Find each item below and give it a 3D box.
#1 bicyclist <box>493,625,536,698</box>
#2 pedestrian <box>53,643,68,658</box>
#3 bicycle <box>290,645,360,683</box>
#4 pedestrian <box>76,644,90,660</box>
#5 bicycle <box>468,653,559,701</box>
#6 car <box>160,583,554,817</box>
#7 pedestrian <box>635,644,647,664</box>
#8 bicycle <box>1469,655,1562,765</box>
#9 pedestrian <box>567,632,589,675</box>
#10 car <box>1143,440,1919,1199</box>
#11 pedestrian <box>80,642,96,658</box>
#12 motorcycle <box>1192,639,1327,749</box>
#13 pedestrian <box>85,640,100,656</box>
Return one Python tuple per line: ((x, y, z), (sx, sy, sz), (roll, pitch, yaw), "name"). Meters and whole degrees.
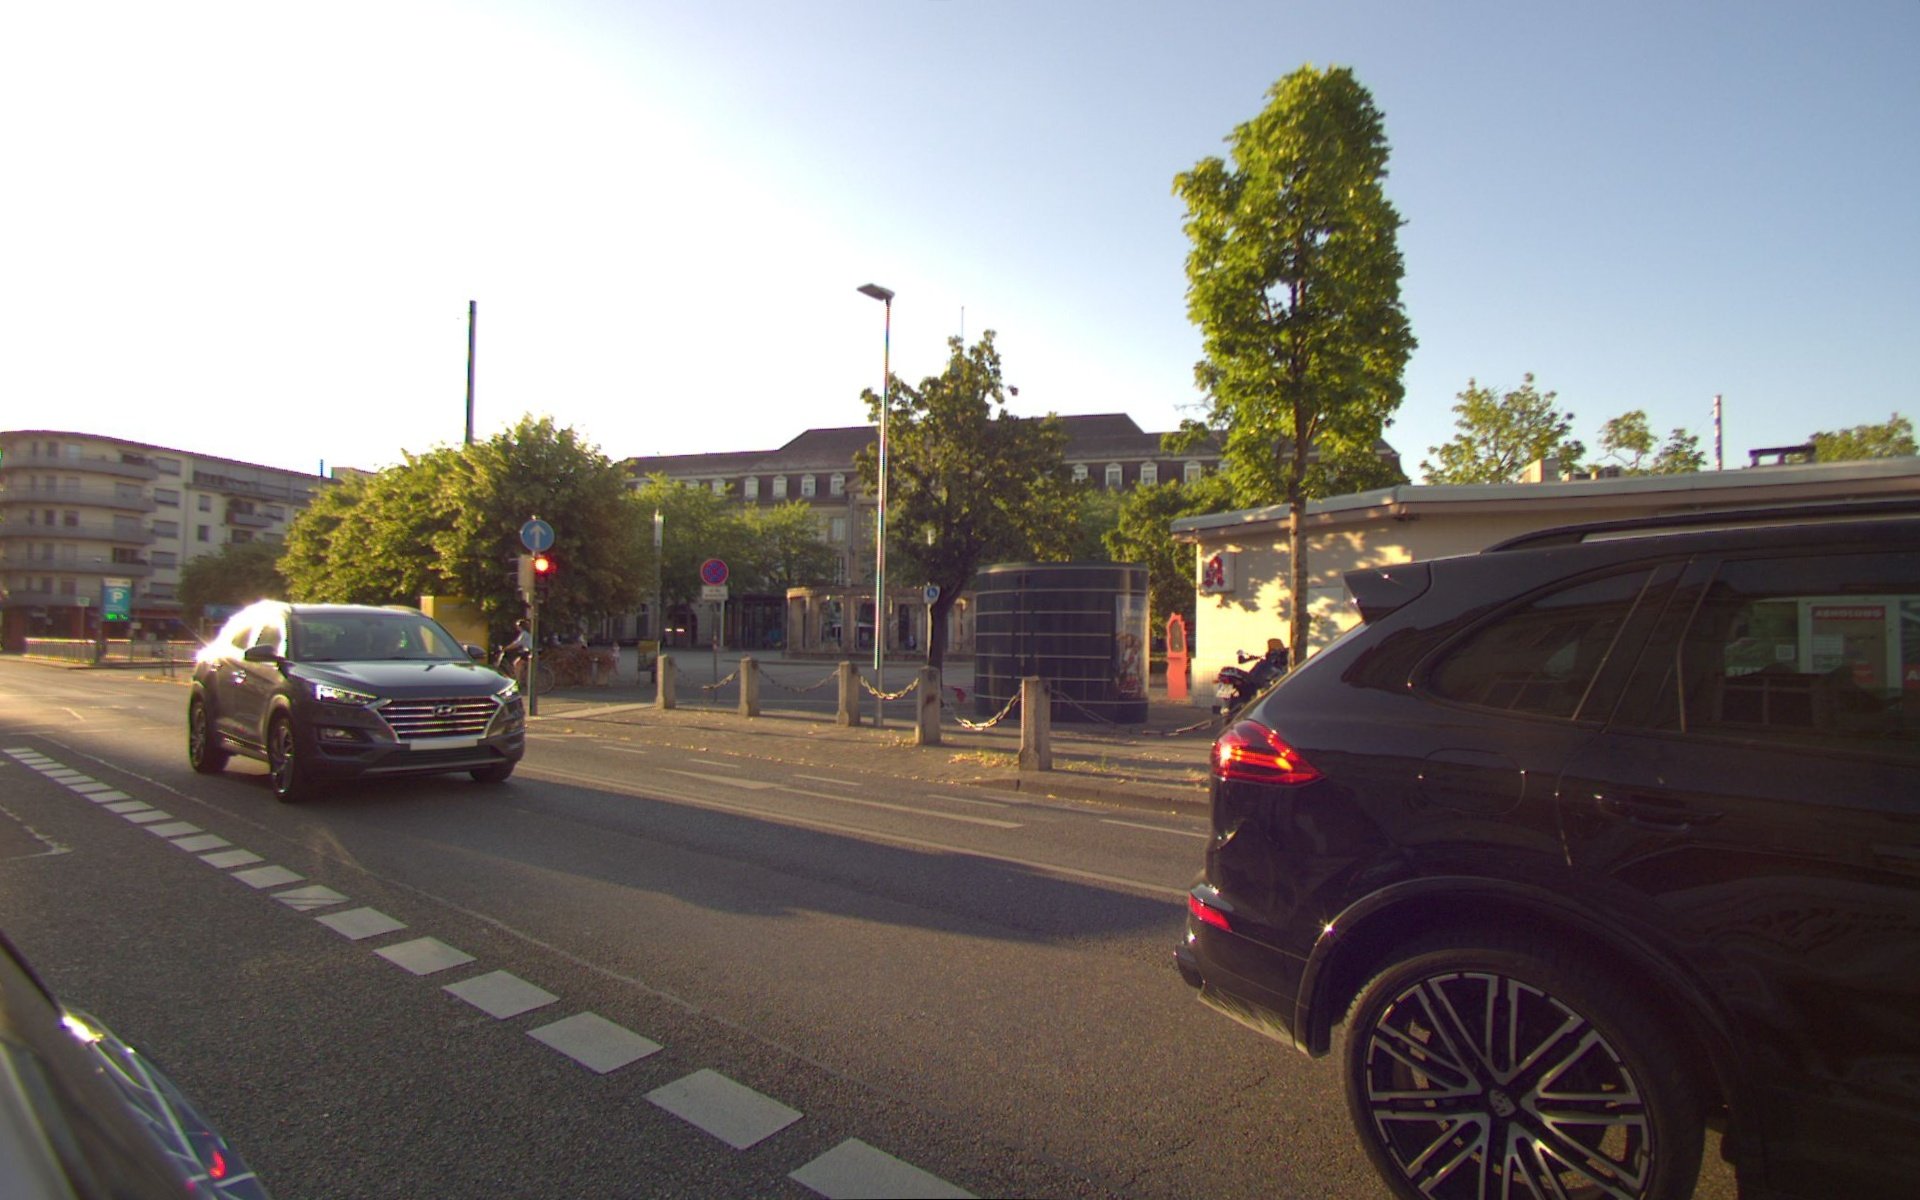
((-10.782, 1.482, 24.472), (0.766, 1.737, 0.857), (3, -4, -34), "bicyclist")
((-73.407, 4.127, 82.578), (0.875, 1.201, 0.734), (2, -4, -40), "pedestrian")
((-22.051, 2.195, 35.169), (0.548, 1.262, 2.007), (-2, -2, 36), "bicycle")
((-73.429, 4.319, 84.701), (0.888, 1.332, 0.723), (-2, -3, 39), "pedestrian")
((-10.765, 1.850, 24.429), (1.889, 1.126, 0.707), (2, -3, -33), "bicycle")
((-5.830, 0.840, 9.555), (4.447, 1.702, 1.853), (-2, -5, 41), "car")
((-16.940, 2.869, 53.740), (0.454, 1.071, 0.531), (0, -3, -30), "pedestrian")
((7.008, 1.337, 12.720), (0.632, 1.266, 1.834), (-2, -4, 41), "bicycle")
((-14.553, 2.031, 38.609), (0.693, 1.633, 0.843), (1, -2, -15), "pedestrian")
((2.838, 0.609, 1.992), (4.559, 1.727, 1.928), (-2, -4, 41), "car")
((-73.507, 4.235, 85.338), (0.814, 1.332, 0.684), (-1, -3, 16), "pedestrian")
((4.349, 1.299, 14.546), (0.868, 1.440, 2.554), (-2, -4, 41), "motorcycle")
((-73.188, 4.042, 85.382), (0.887, 1.332, 0.723), (-2, -3, 38), "pedestrian")
